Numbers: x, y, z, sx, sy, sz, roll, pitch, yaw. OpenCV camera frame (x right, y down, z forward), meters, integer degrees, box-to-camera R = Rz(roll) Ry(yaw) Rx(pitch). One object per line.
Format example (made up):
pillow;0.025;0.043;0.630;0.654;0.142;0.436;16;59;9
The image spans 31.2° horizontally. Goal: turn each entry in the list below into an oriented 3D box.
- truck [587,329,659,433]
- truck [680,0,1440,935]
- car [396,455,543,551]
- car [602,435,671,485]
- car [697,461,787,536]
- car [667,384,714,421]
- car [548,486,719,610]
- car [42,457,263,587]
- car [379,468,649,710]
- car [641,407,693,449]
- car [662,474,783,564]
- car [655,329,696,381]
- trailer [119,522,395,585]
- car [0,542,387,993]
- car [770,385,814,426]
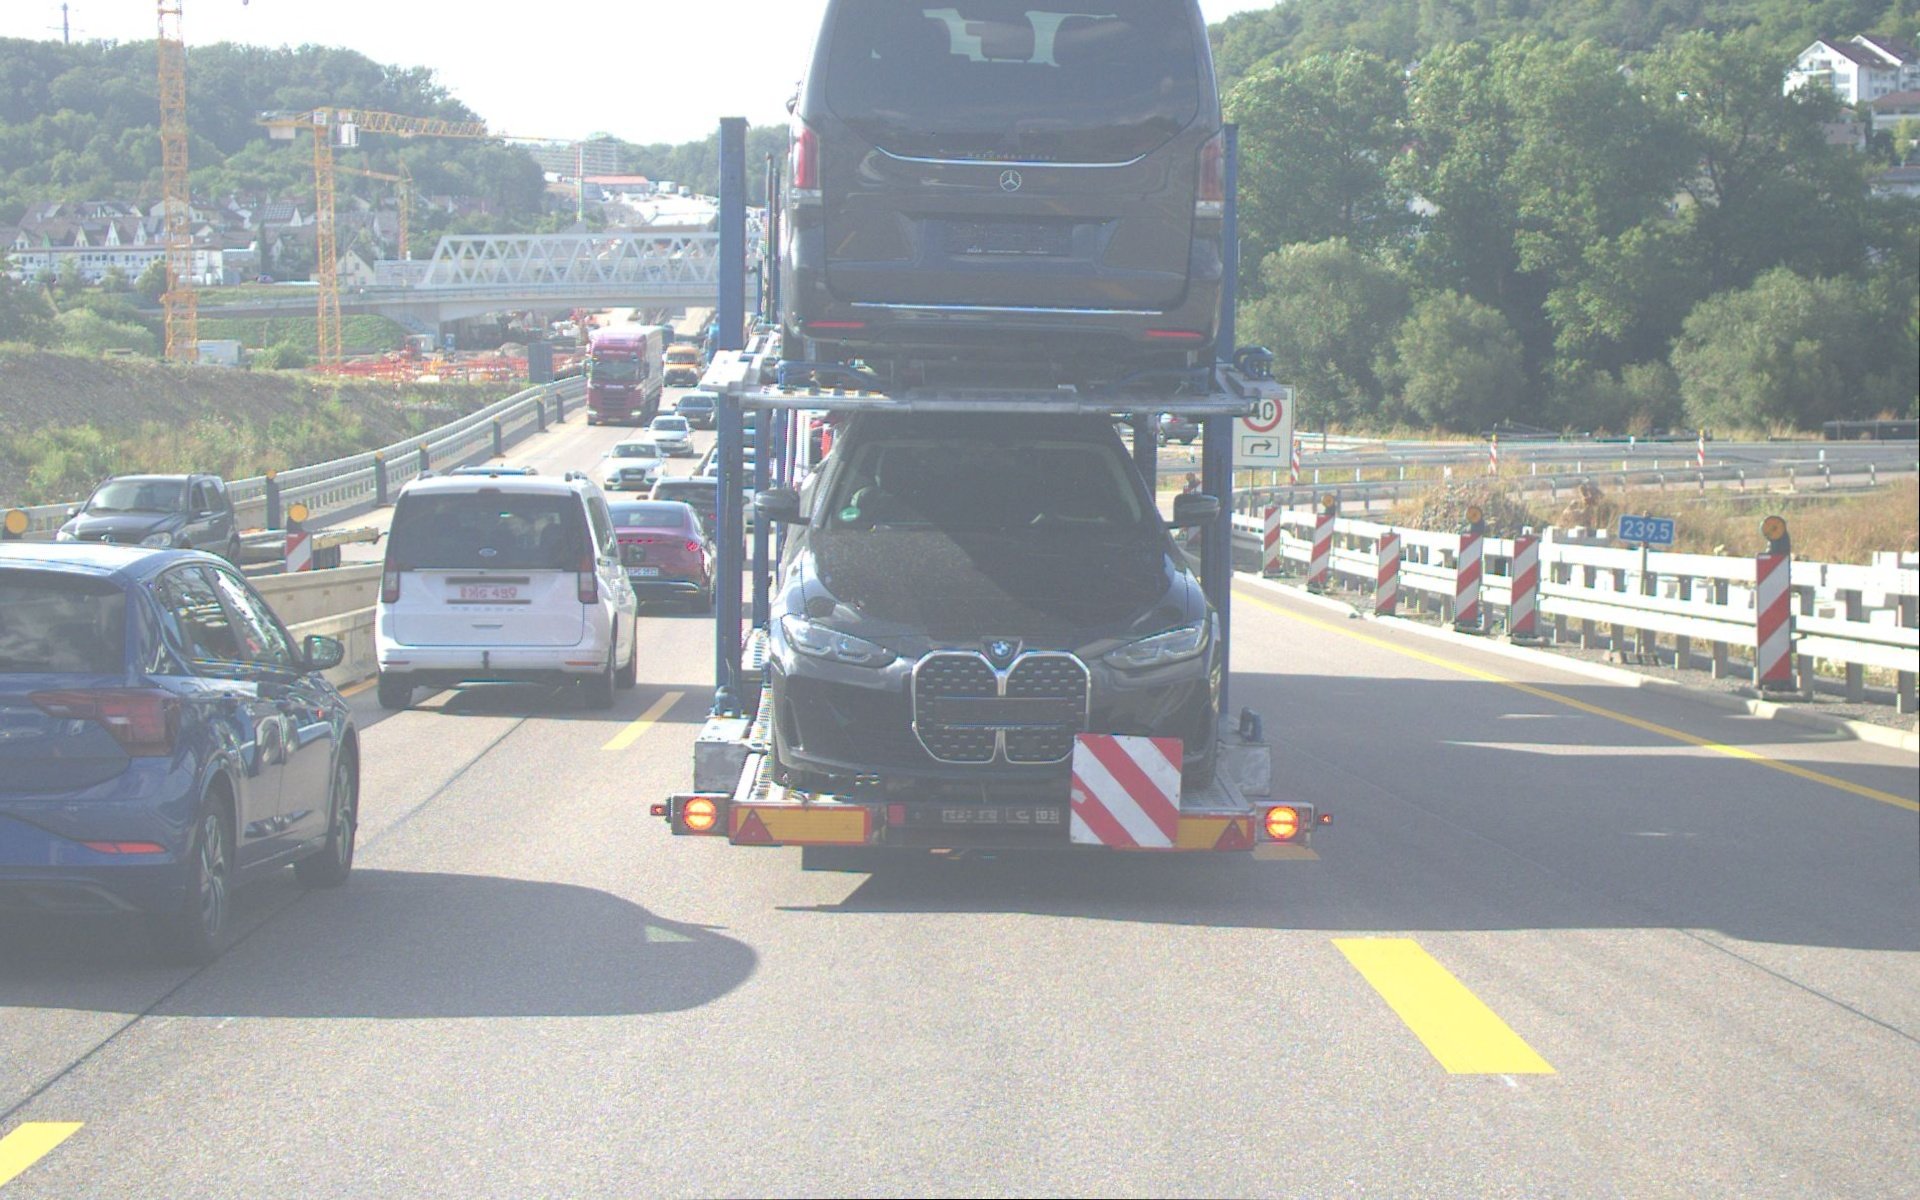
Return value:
truck;-15.036;-9.730;153.651;2.914;4.372;6.288;2;2;-4
truck;0.043;-1.029;22.366;2.753;3.941;18.893;2;2;-2
car;-8.845;-1.763;62.377;1.852;1.630;4.749;2;2;1
car;-9.887;-4.275;105.266;1.852;1.435;4.559;2;2;-3
car;-5.037;-2.384;79.863;1.993;1.660;4.001;1;2;-2
car;-11.700;-8.591;149.697;1.821;1.435;4.615;1;2;-2
car;-4.321;-0.686;46.084;1.993;1.551;4.401;1;0;-2
car;-11.850;-1.121;50.767;1.994;1.798;4.444;1;0;3
car;-3.523;-0.102;27.767;1.823;1.786;4.000;1;0;-3
car;-10.884;-6.385;127.889;1.754;1.435;3.805;1;2;-3
car;-4.260;-1.435;62.108;1.993;1.547;4.000;1;0;-2
car;-17.133;-14.759;207.387;1.993;2.869;6.065;1;1;-1
trailer;-11.688;-0.794;58.147;2.351;0.936;10.329;1;1;1
car;-3.330;0.498;12.899;1.722;1.417;4.000;1;1;-1
car;-7.405;-8.528;151.096;1.844;1.642;4.506;1;2;-4
